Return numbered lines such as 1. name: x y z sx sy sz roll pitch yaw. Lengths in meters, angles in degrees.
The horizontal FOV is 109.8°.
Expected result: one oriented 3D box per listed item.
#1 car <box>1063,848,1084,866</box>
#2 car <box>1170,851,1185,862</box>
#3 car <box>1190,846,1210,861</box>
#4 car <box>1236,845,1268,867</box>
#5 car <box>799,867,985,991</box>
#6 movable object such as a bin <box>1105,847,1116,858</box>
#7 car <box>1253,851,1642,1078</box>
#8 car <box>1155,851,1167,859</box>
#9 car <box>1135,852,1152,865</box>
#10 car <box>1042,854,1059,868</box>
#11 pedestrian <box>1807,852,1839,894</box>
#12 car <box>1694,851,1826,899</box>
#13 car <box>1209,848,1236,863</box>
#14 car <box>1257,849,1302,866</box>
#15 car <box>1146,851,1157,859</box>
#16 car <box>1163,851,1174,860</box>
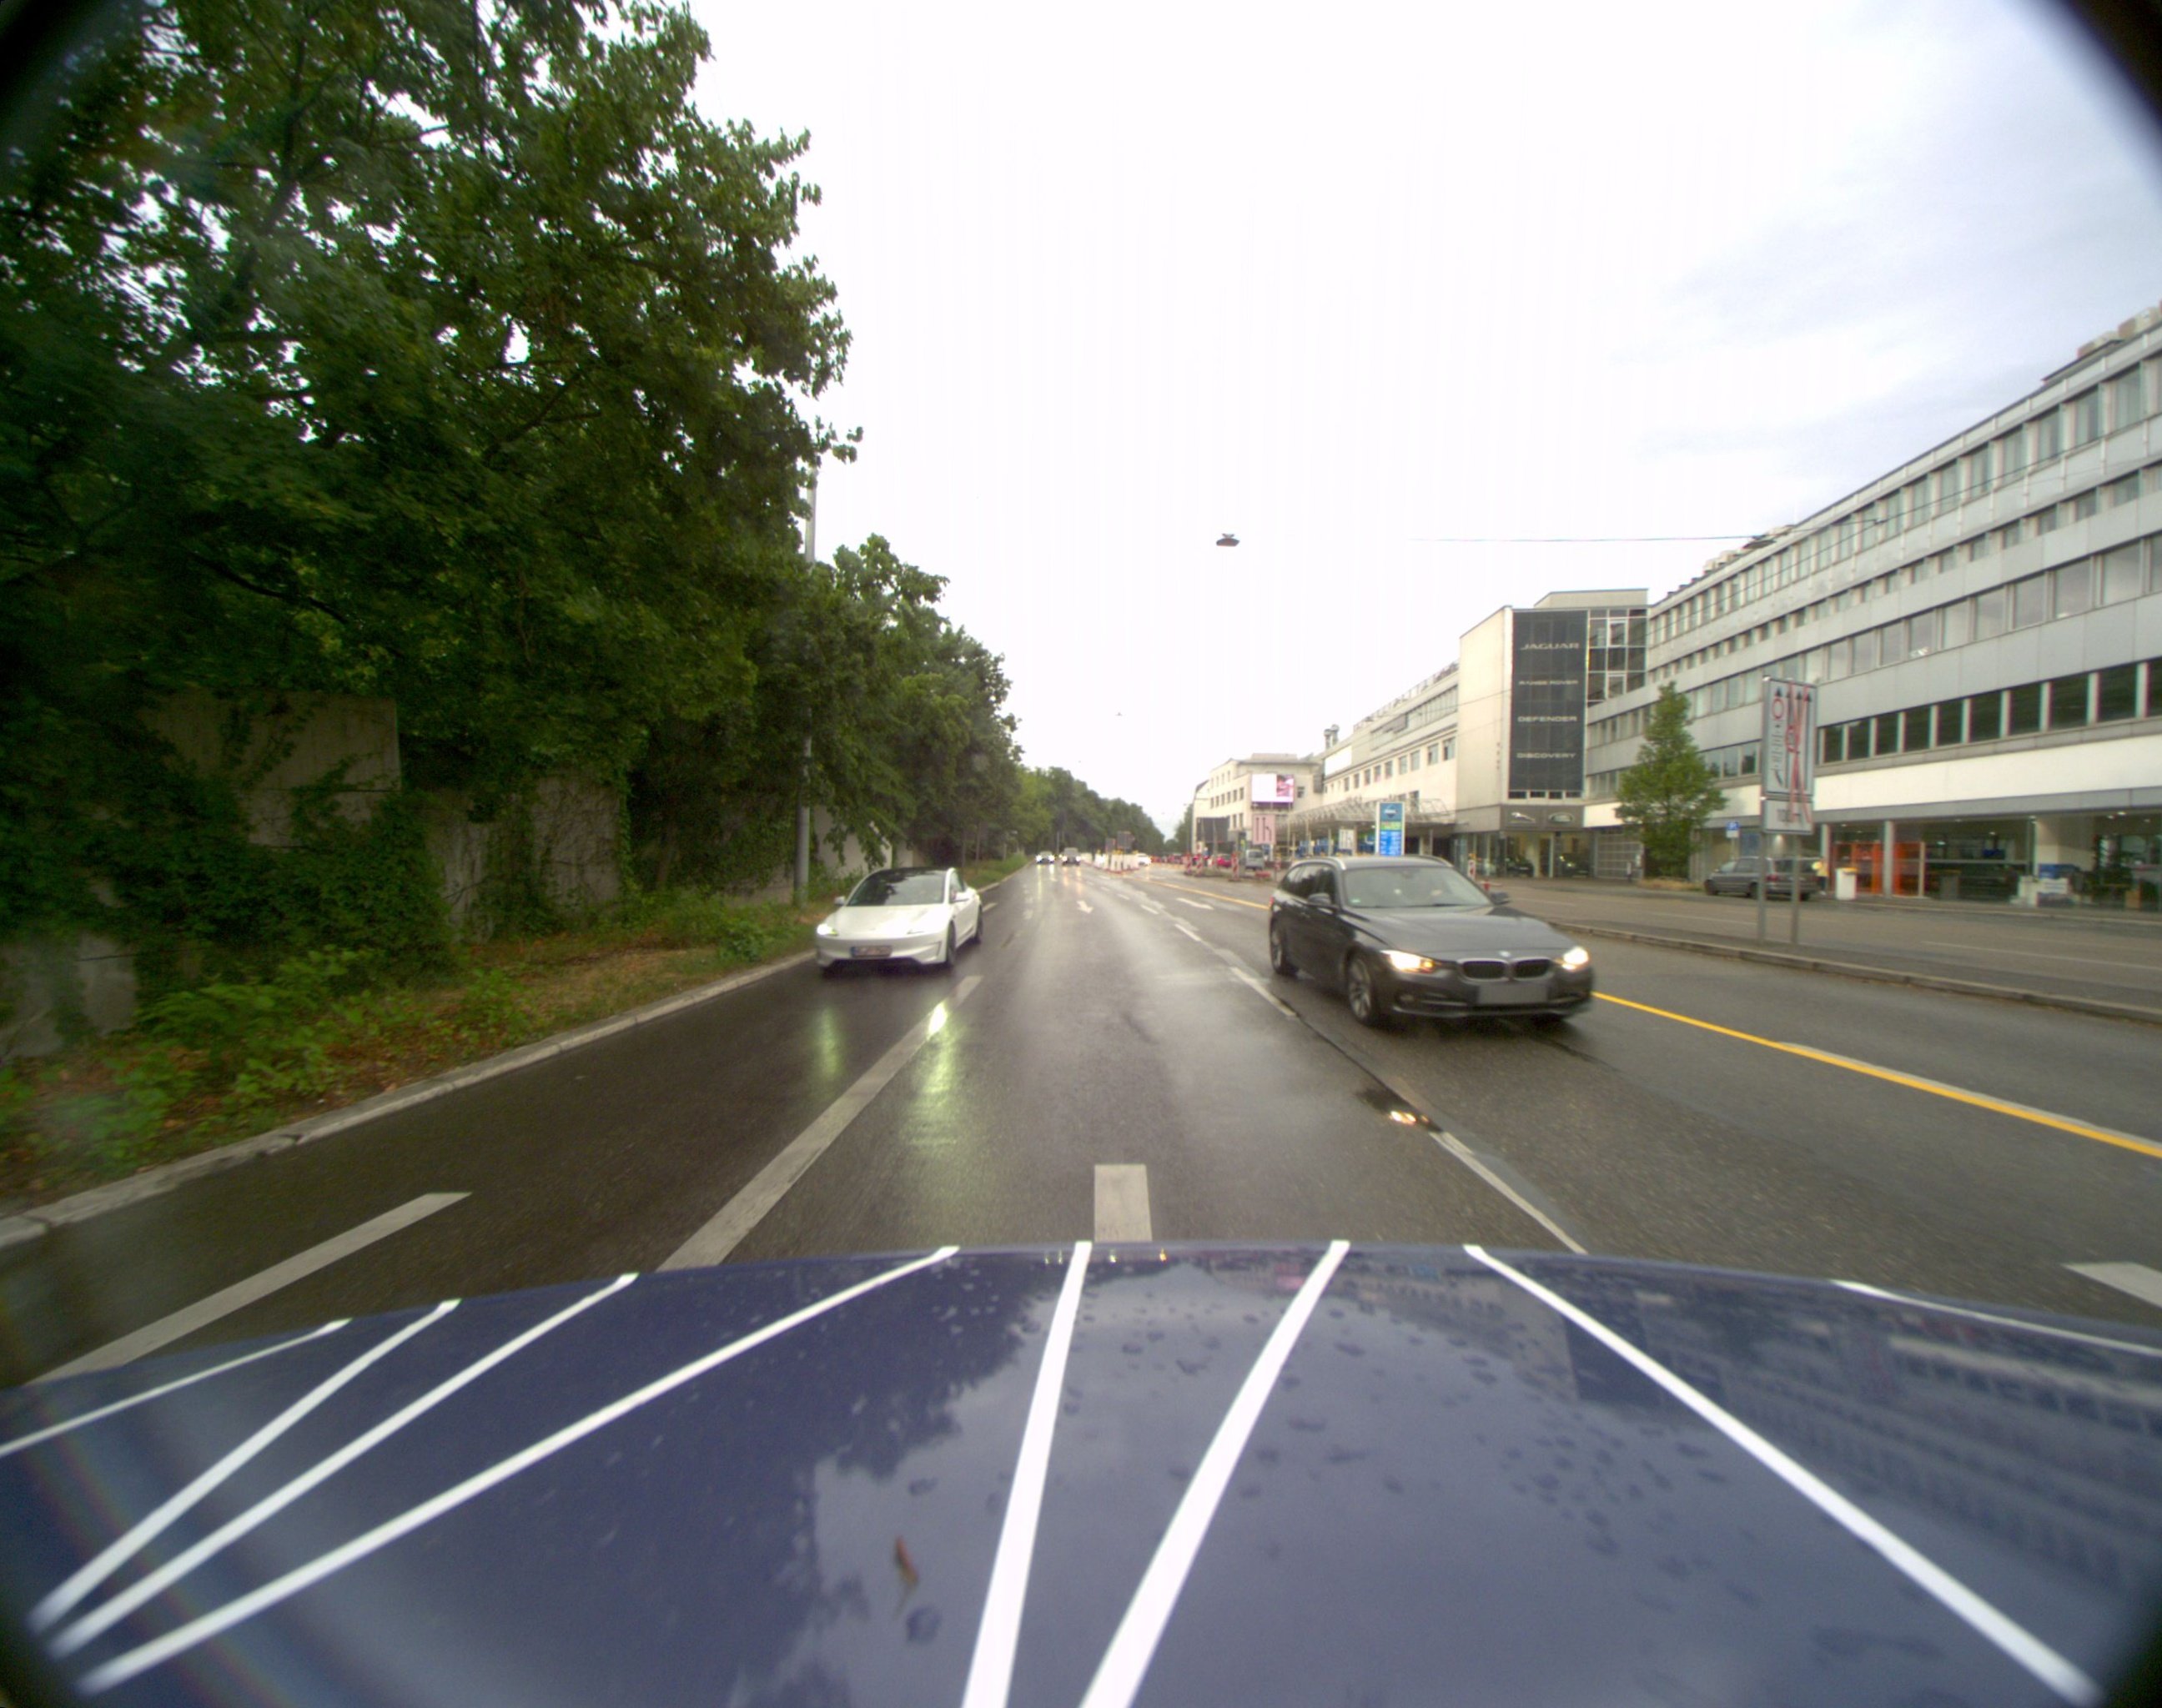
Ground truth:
1. car: -0.768 0.271 79.171 1.998 1.740 4.000 2 1 1
2. car: 14.848 0.373 117.552 1.812 1.549 4.300 1 1 1
3. car: 14.786 -0.087 94.668 1.850 1.727 4.603 1 1 0
4. car: 14.821 0.153 66.174 1.738 1.775 4.300 2 1 0
5. car: -2.714 1.010 11.966 1.840 1.424 4.272 -2 1 0
6. movable object such as a bin: 6.335 -0.330 164.864 1.997 2.099 3.852 2 0 7
7. car: 3.151 0.796 7.616 1.764 1.442 4.176 -4 2 -1
8. car: 17.722 0.223 168.444 1.985 1.697 4.830 1 1 -2
9. car: 7.447 0.492 90.811 1.649 1.477 4.000 2 1 1
10. car: -3.434 0.824 86.571 1.742 1.477 3.917 -2 1 1
11. pedestrian: 31.055 0.778 31.809 0.719 1.722 0.538 2 1 14
12. car: 28.407 0.809 32.035 1.851 1.769 4.733 2 1 10
13. car: 14.479 0.128 77.825 1.834 1.493 4.372 2 1 -1
14. car: 22.849 0.431 87.556 4.431 1.760 1.972 3 1 39
15. car: 13.391 0.186 144.122 1.693 1.346 4.115 2 1 2
16. car: 16.316 0.264 141.649 1.756 1.505 4.000 2 1 3
